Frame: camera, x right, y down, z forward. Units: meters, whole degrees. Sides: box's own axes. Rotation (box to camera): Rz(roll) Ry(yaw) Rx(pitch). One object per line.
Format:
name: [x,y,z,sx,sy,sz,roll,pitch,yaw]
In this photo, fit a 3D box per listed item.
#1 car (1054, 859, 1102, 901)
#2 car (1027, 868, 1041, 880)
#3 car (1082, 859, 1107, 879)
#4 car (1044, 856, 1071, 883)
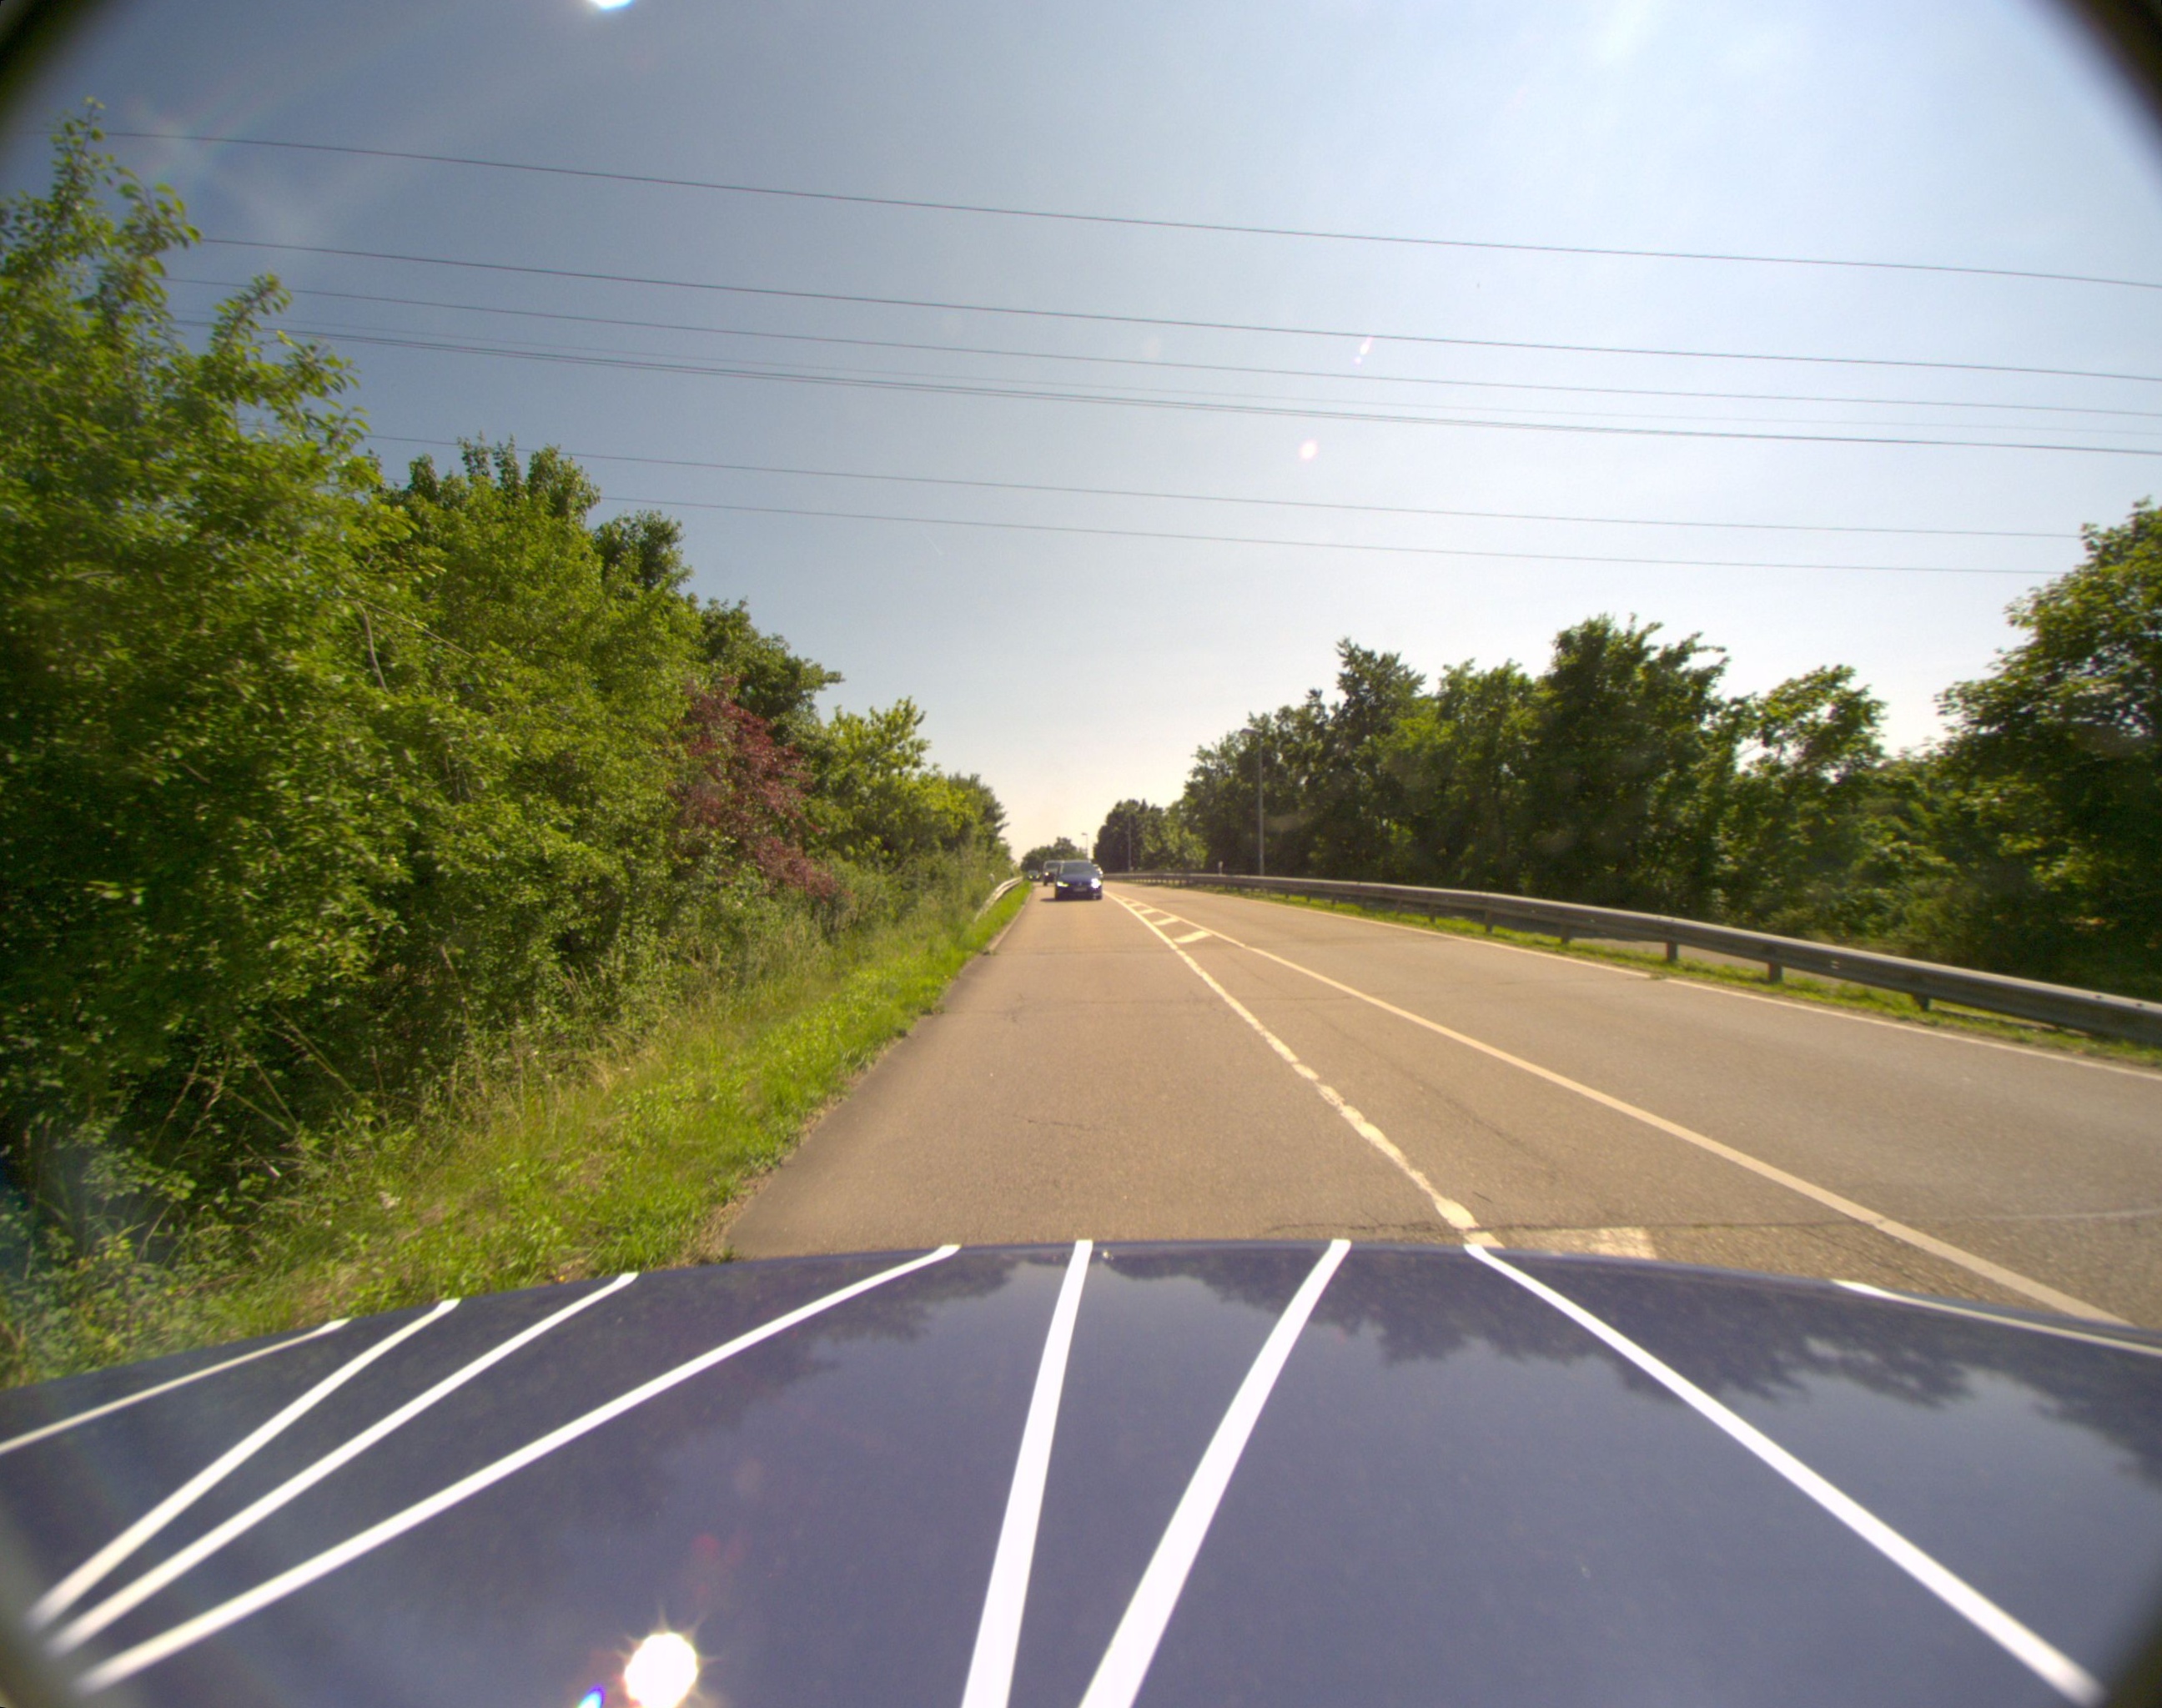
car: [-0.170,1.006,30.685,1.765,1.519,4.422,-3,-1,-2]
car: [-6.806,2.953,110.473,1.765,1.530,3.682,-3,0,-6]
car: [1.184,1.350,69.075,1.829,1.630,4.138,-3,1,-5]
car: [-1.905,1.222,59.667,1.765,1.953,4.260,-3,-1,-6]
